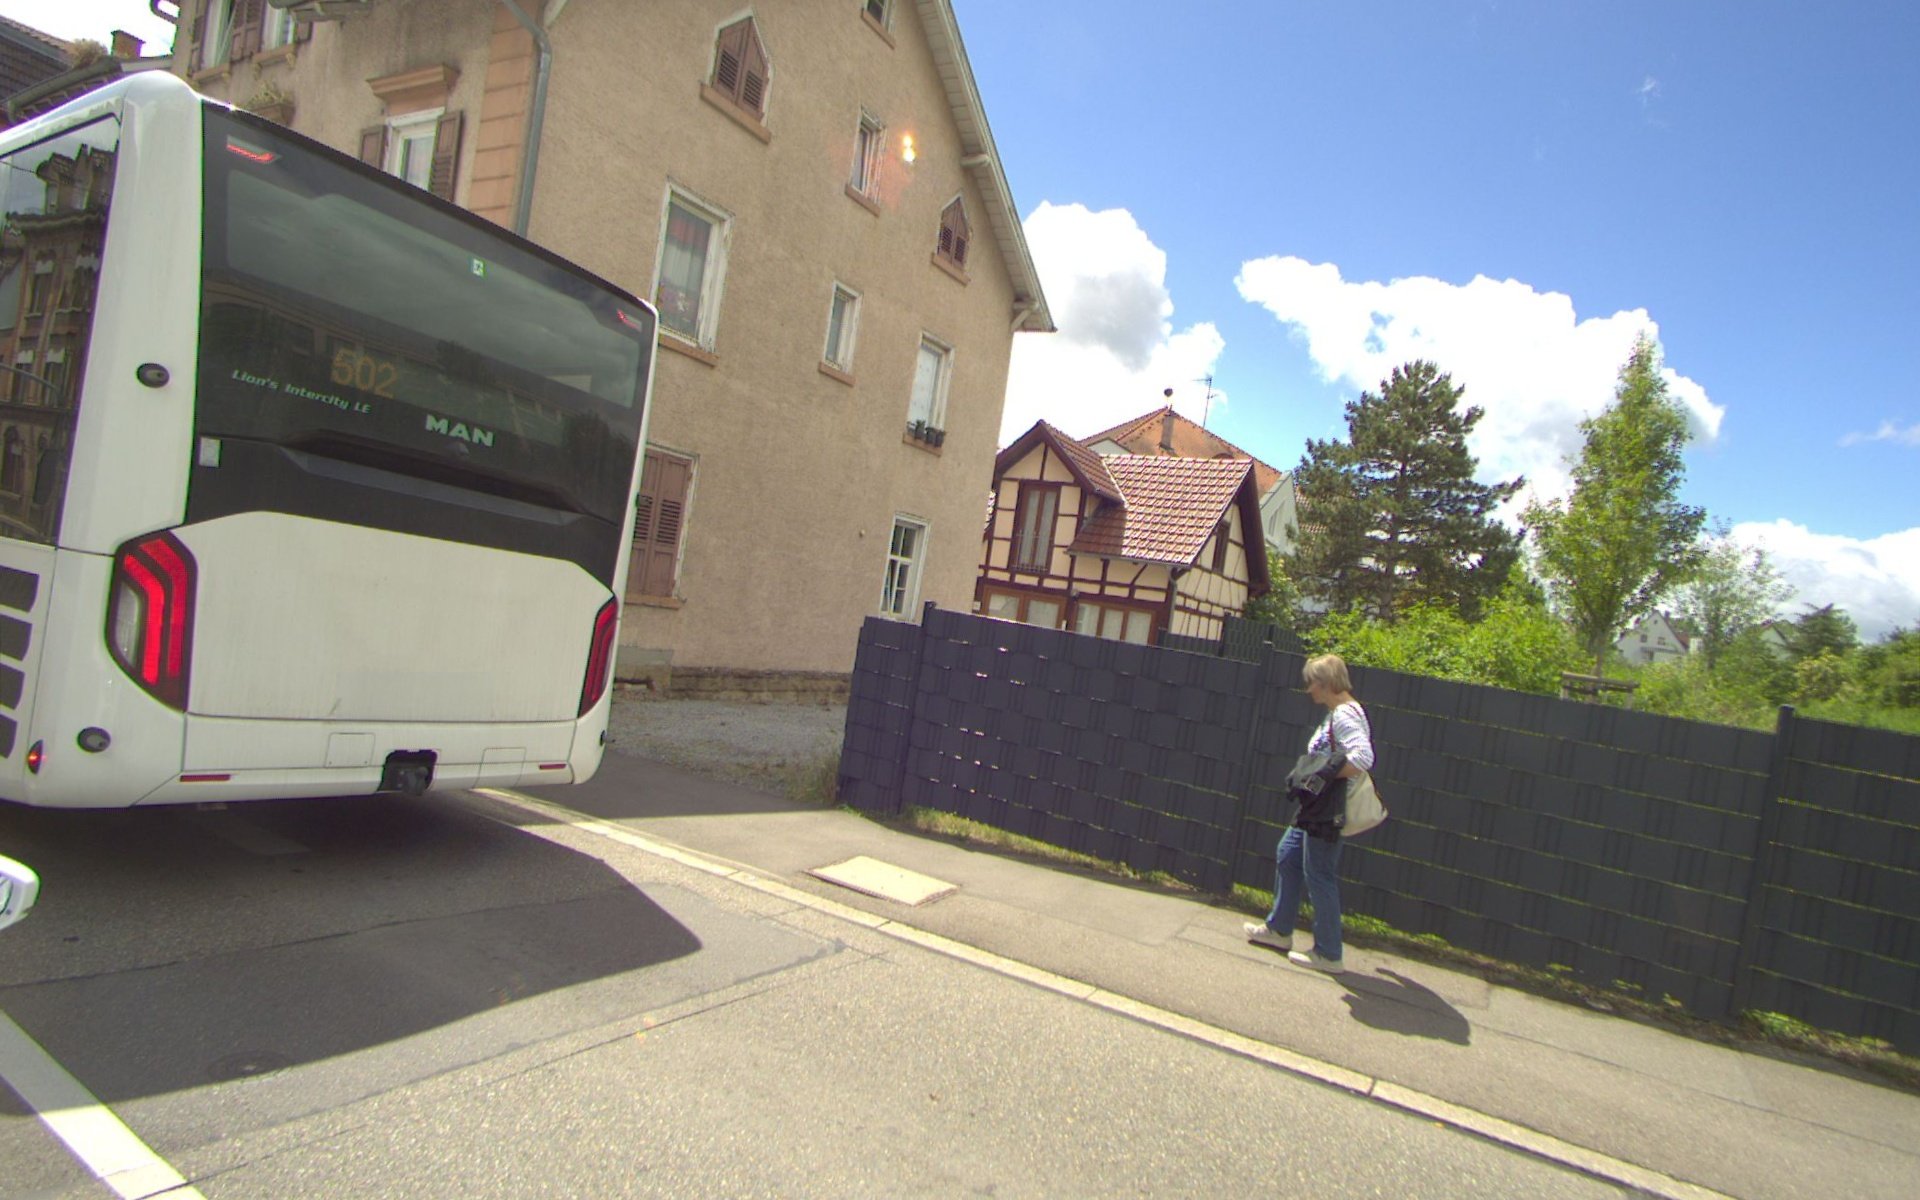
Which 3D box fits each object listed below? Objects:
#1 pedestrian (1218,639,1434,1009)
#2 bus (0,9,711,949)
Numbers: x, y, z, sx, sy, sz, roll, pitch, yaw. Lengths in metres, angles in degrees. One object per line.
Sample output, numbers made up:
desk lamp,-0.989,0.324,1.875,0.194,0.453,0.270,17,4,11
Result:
pedestrian,1.848,1.036,5.027,0.700,1.581,0.860,7,1,31
bus,-7.457,-0.895,7.772,12.255,3.192,2.678,7,-1,32
